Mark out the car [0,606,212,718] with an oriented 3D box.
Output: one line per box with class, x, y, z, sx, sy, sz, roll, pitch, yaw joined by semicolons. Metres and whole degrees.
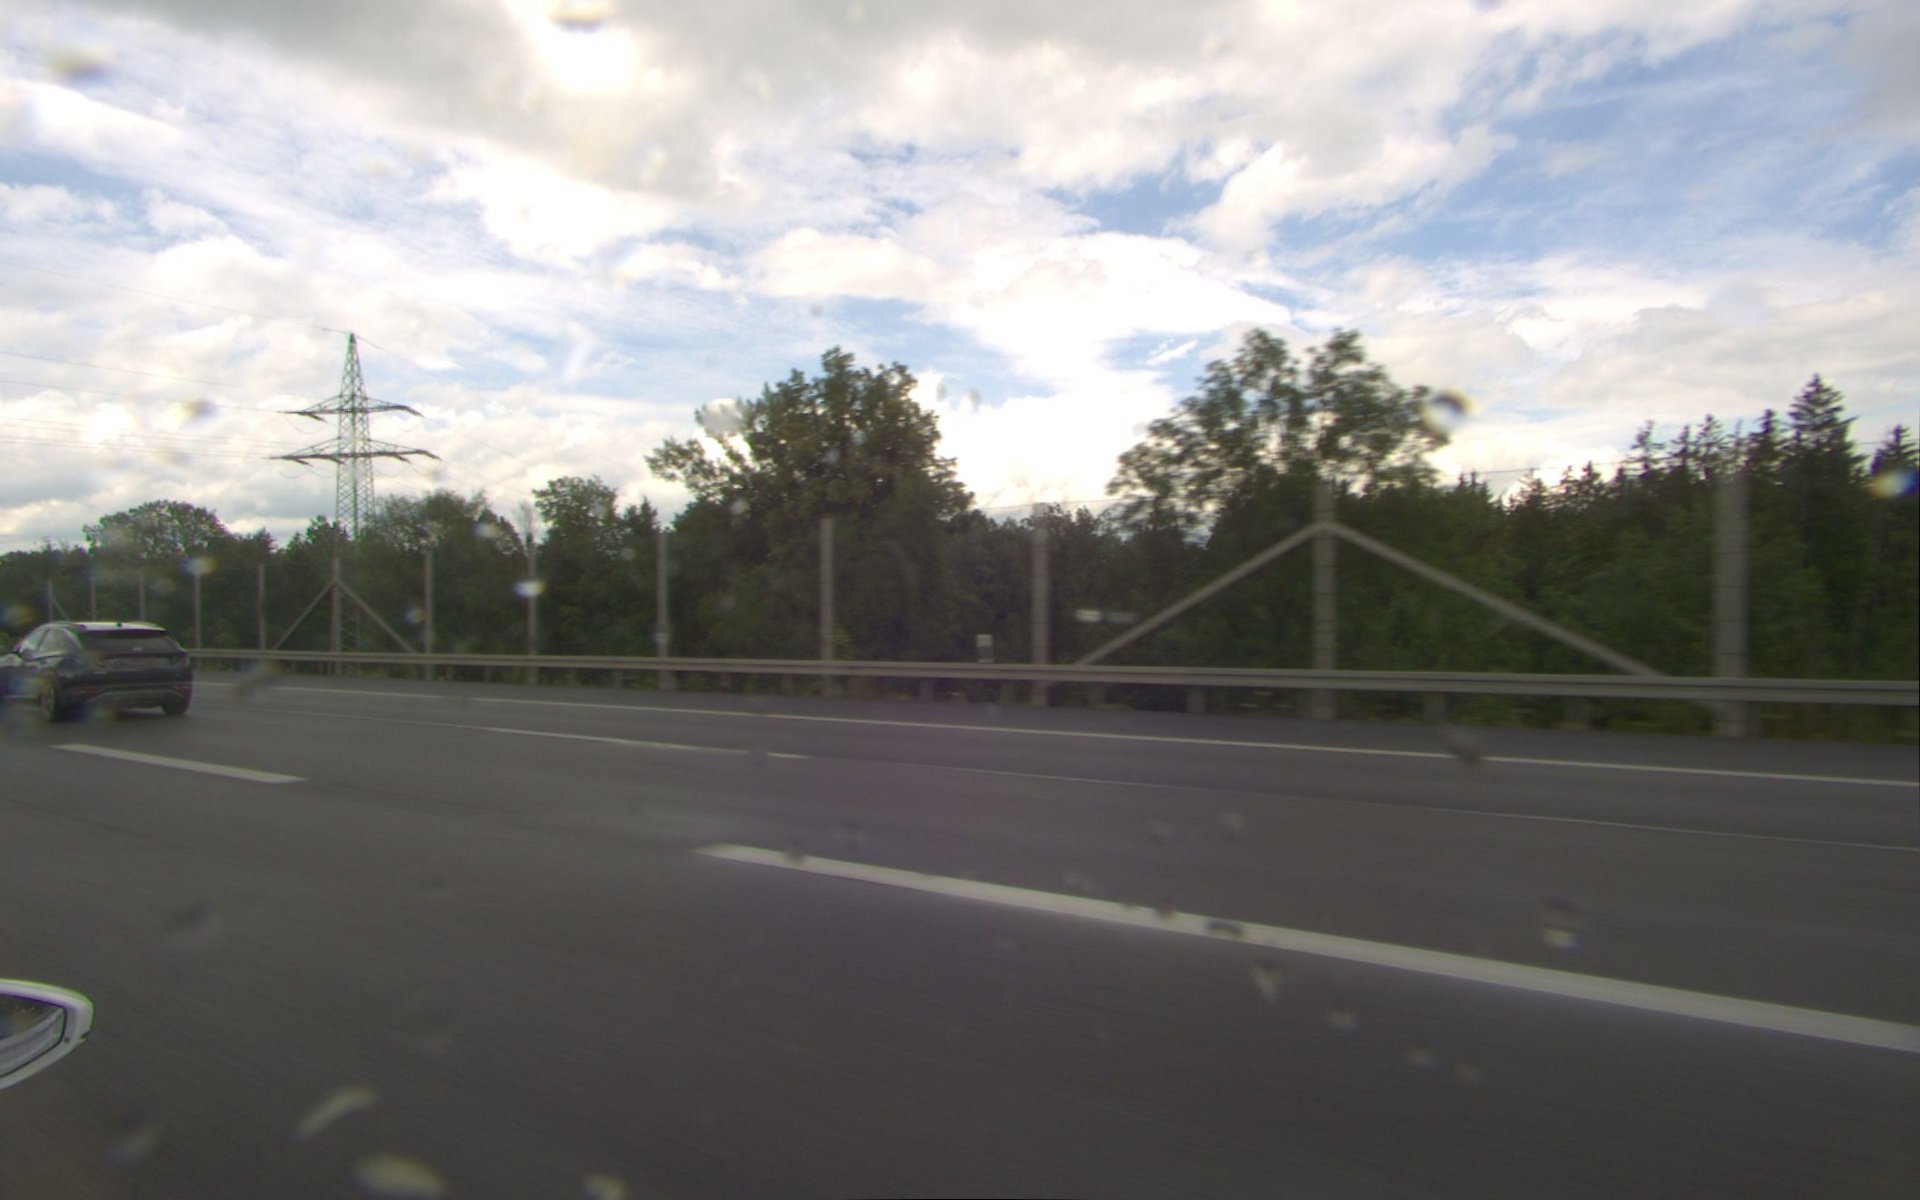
car;-15.449;0.998;17.638;4.936;1.721;2.042;0;-2;33
